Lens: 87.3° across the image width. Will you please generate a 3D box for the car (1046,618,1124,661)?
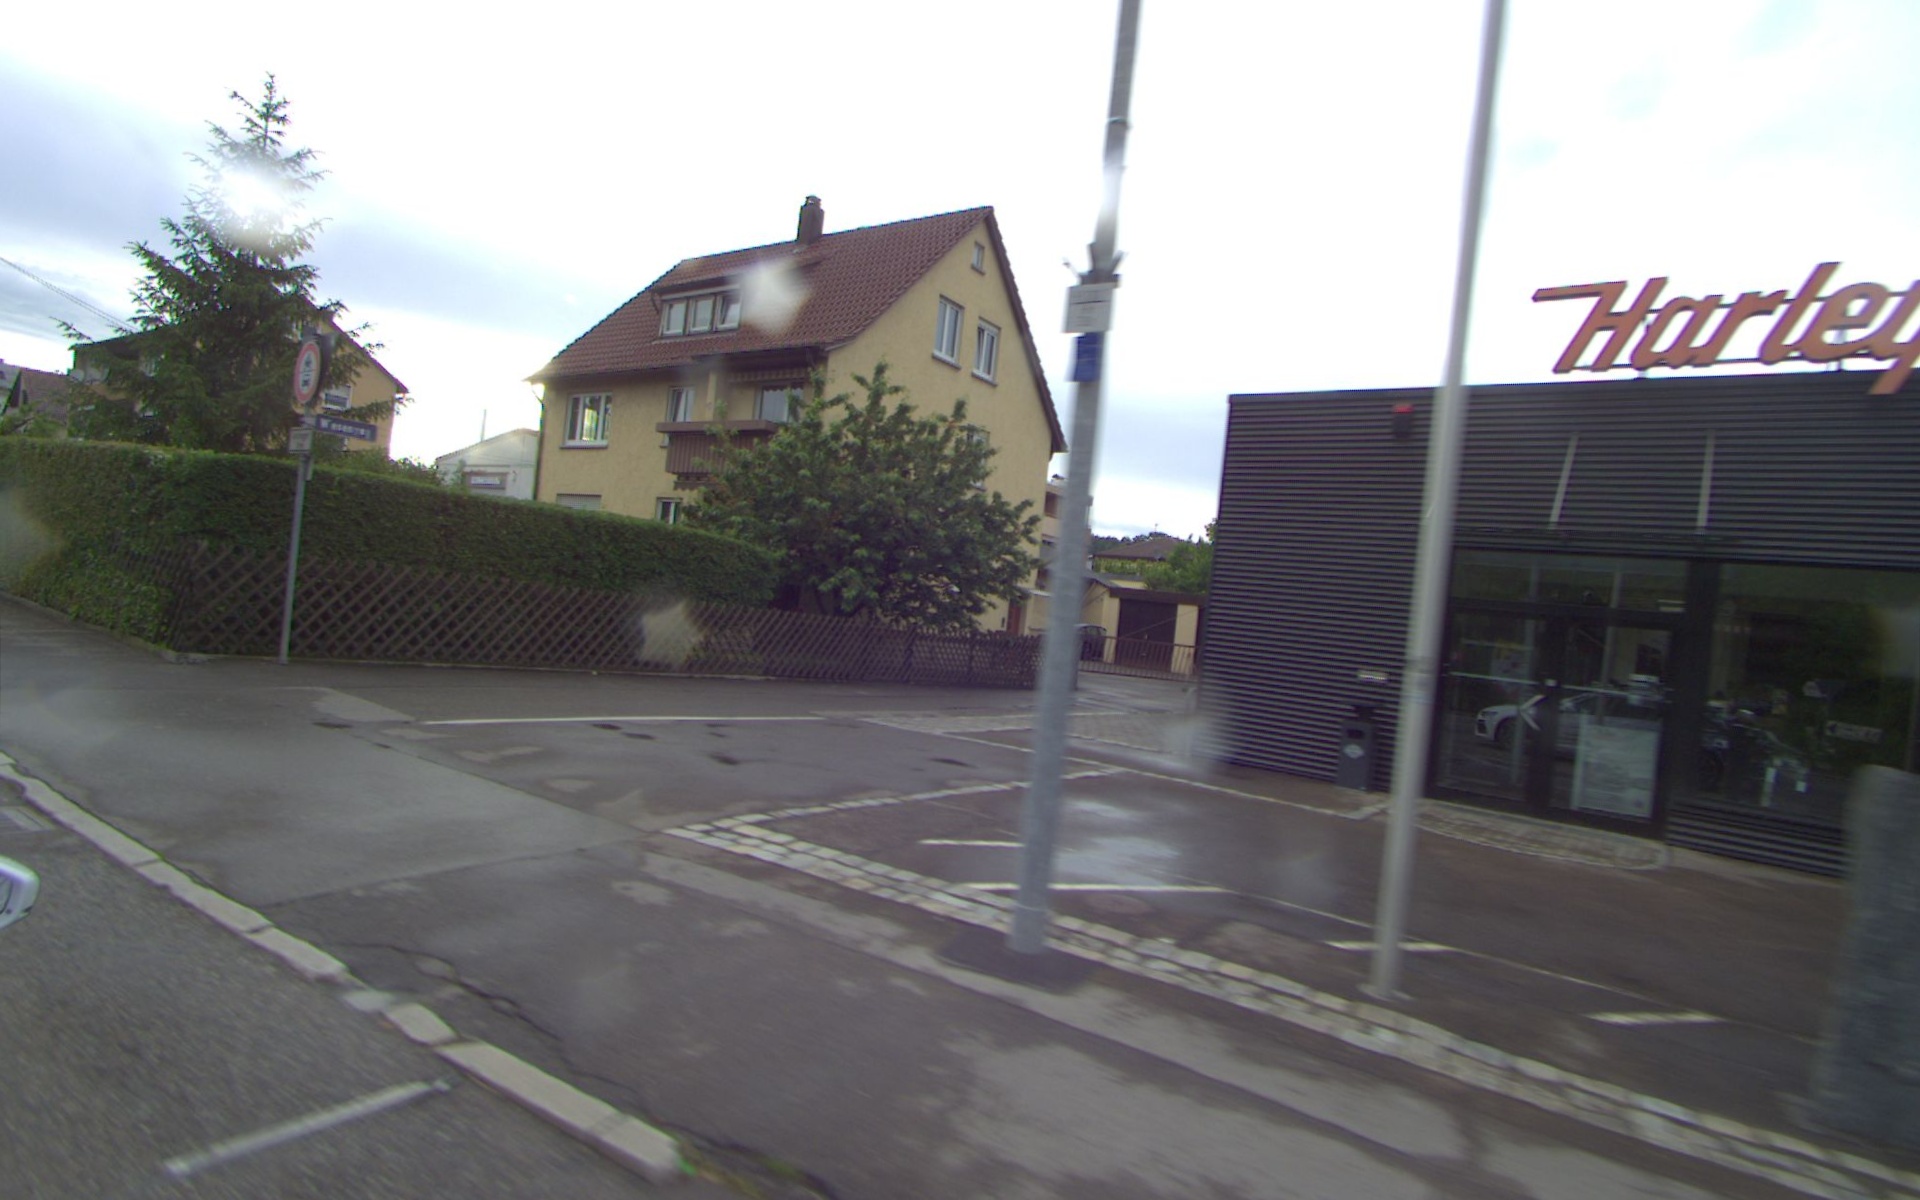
[{"bbox_3d":[5.022,1.600,40.175,1.596,1.381,3.696,7,-1,31],"label":"car"}]
